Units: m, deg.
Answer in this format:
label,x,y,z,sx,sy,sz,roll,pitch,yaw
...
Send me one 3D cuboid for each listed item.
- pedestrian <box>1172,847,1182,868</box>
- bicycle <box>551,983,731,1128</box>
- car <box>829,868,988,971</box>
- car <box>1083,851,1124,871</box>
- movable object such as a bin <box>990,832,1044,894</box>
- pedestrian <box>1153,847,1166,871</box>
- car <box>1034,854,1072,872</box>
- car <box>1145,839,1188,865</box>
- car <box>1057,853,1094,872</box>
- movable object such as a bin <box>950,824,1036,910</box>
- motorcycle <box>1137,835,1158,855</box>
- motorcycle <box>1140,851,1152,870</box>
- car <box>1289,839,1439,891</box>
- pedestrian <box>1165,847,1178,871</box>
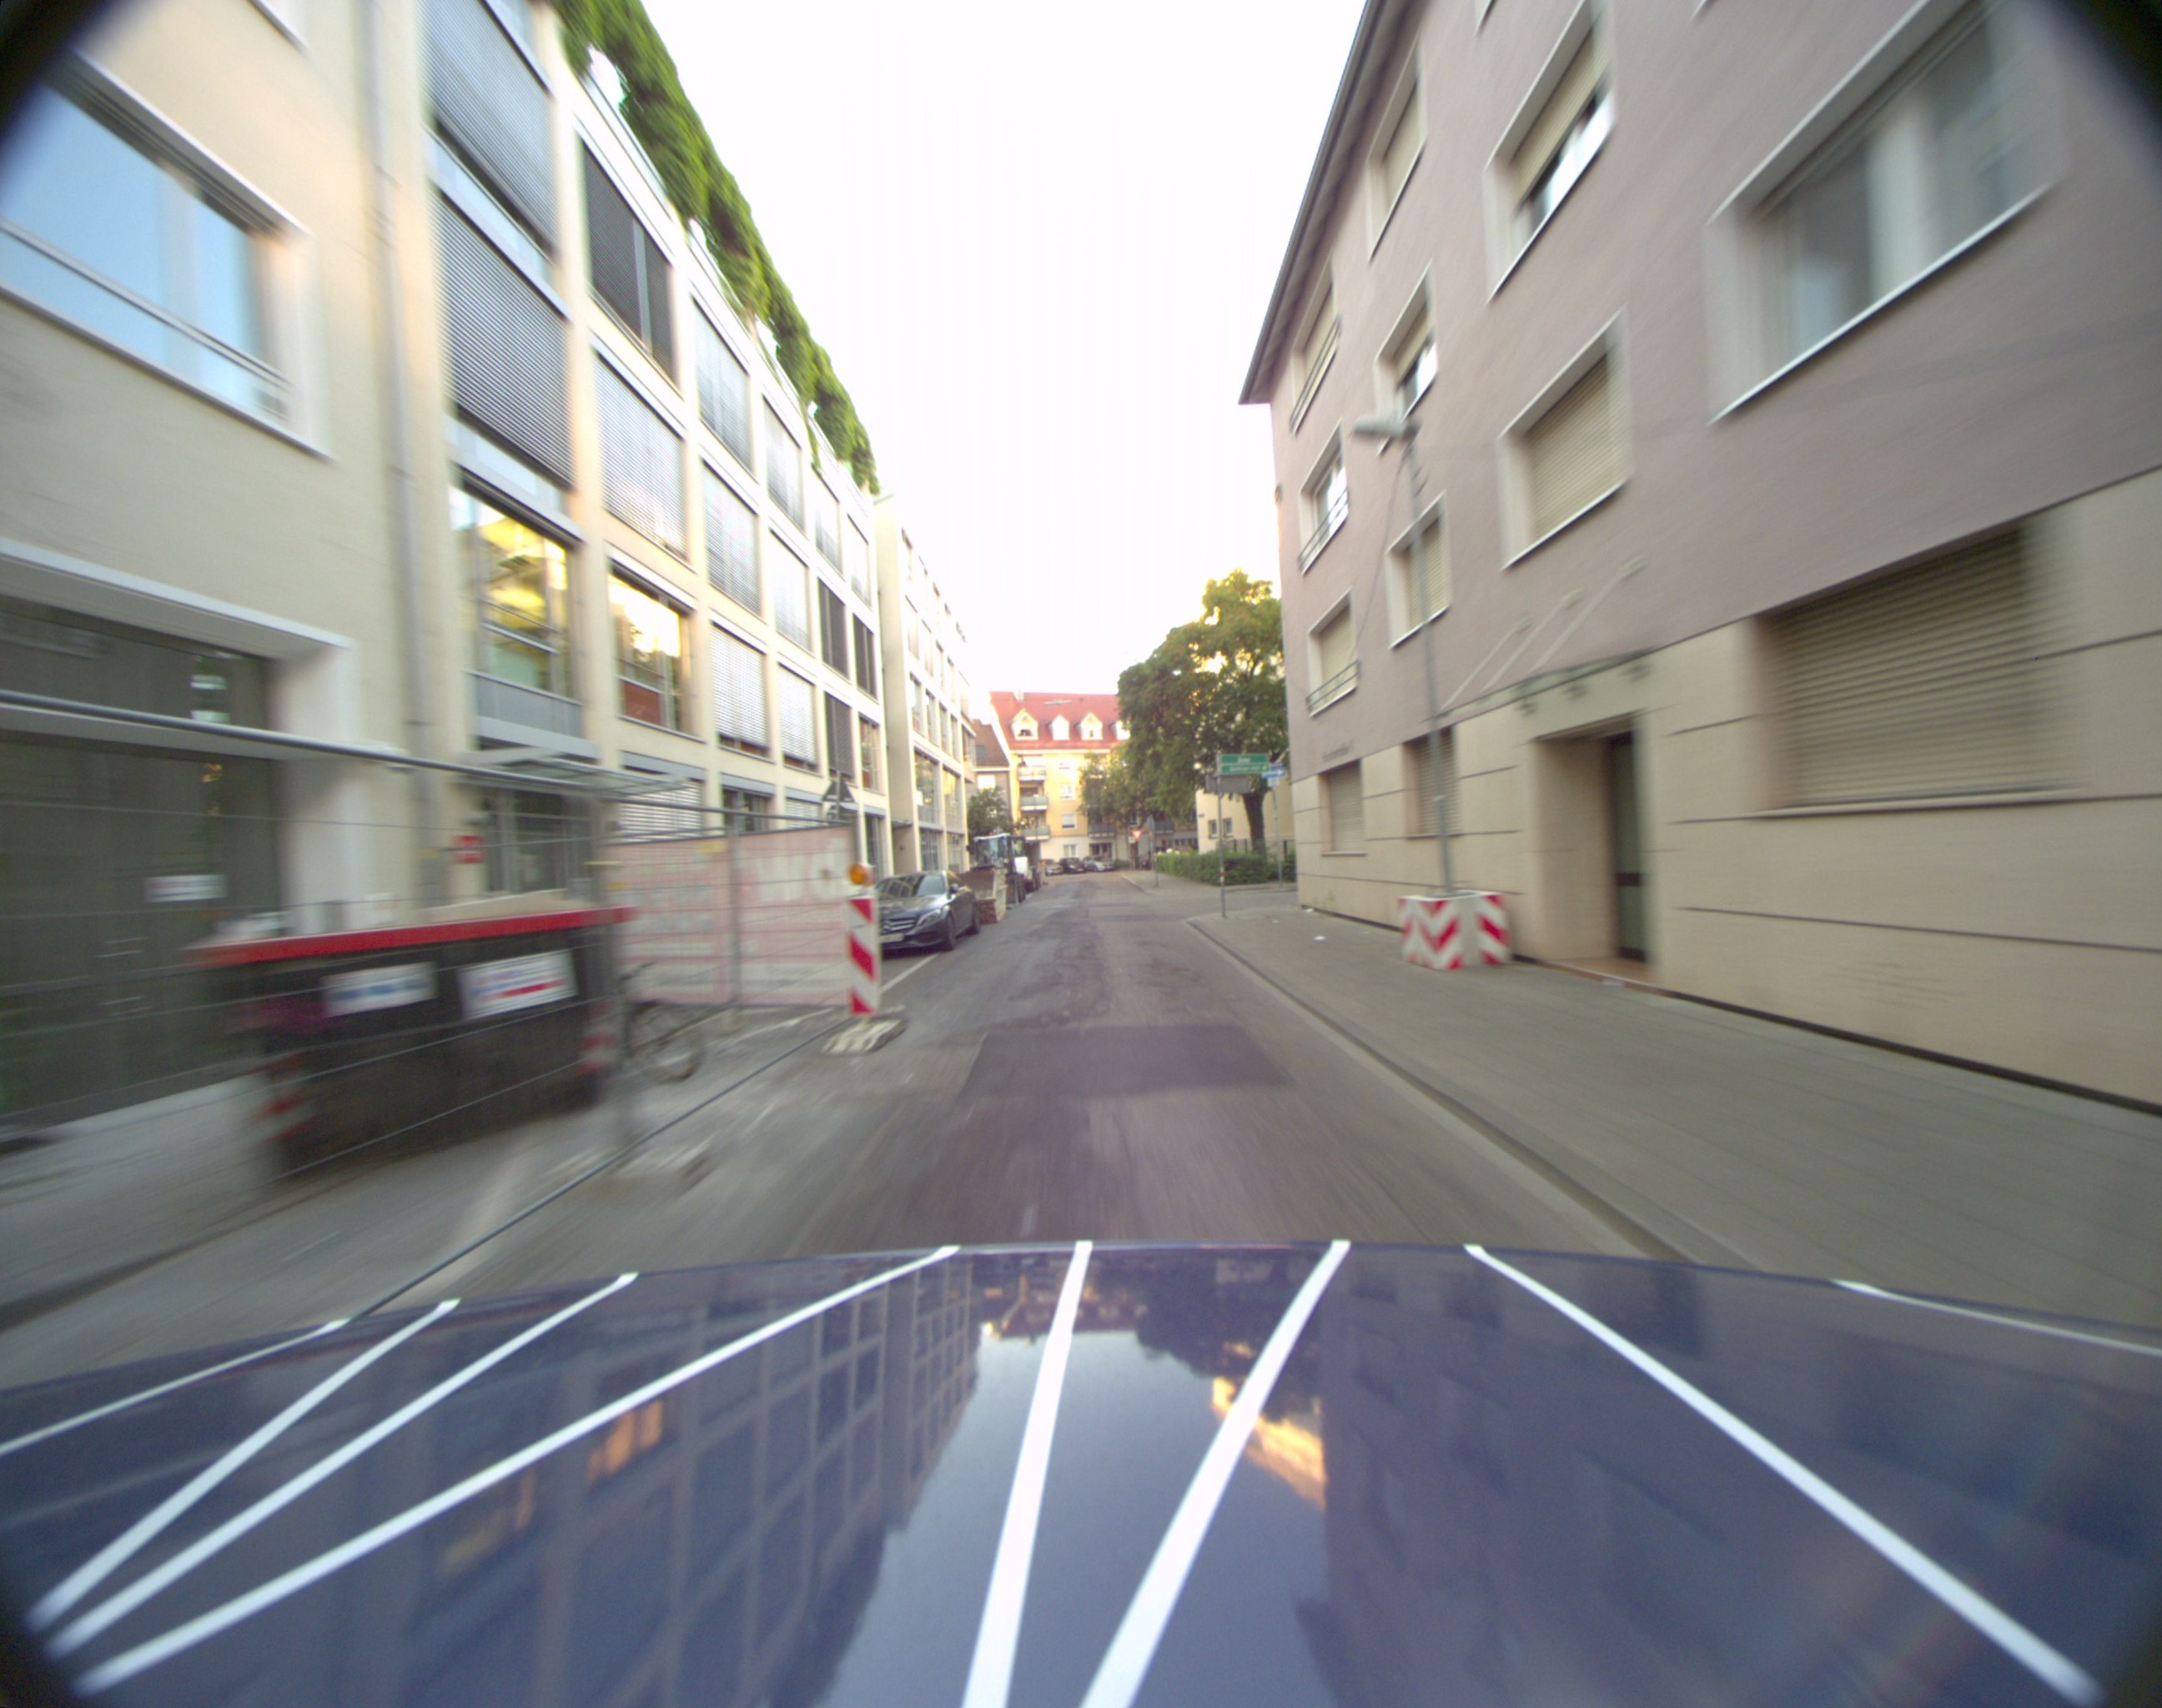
label,x,y,z,sx,sy,sz,roll,pitch,yaw
pedestrian,7.062,0.264,55.869,0.448,1.563,0.660,-2,1,-17
bicycle,-3.316,1.454,5.687,1.488,0.892,0.398,-4,0,29
car,-3.003,1.084,14.271,1.697,1.398,4.480,-4,0,2
car,2.027,0.681,70.137,1.838,1.694,4.803,-4,0,-23
movable object such as a bin,-2.901,0.392,35.333,1.800,2.619,4.111,-3,0,3
pedestrian,5.953,0.381,57.486,0.697,1.777,0.530,-3,0,28
car,-2.553,0.841,68.276,1.874,1.499,4.286,-4,0,-23
car,8.119,-0.232,72.465,2.038,2.122,4.624,-4,4,-22
car,-0.510,0.767,69.105,1.855,1.554,4.073,-4,0,-23
movable object such as a bin,-2.936,0.409,26.747,2.172,2.581,5.543,-4,0,1
motorcycle,5.403,-0.699,61.813,0.692,1.485,2.221,-4,0,-20
motorcycle,5.043,0.494,58.920,0.722,1.366,2.226,-3,0,9
car,9.425,0.356,25.538,4.356,1.449,1.686,-3,1,-1
pedestrian,6.770,0.367,57.016,0.666,1.777,0.698,-4,0,-17
